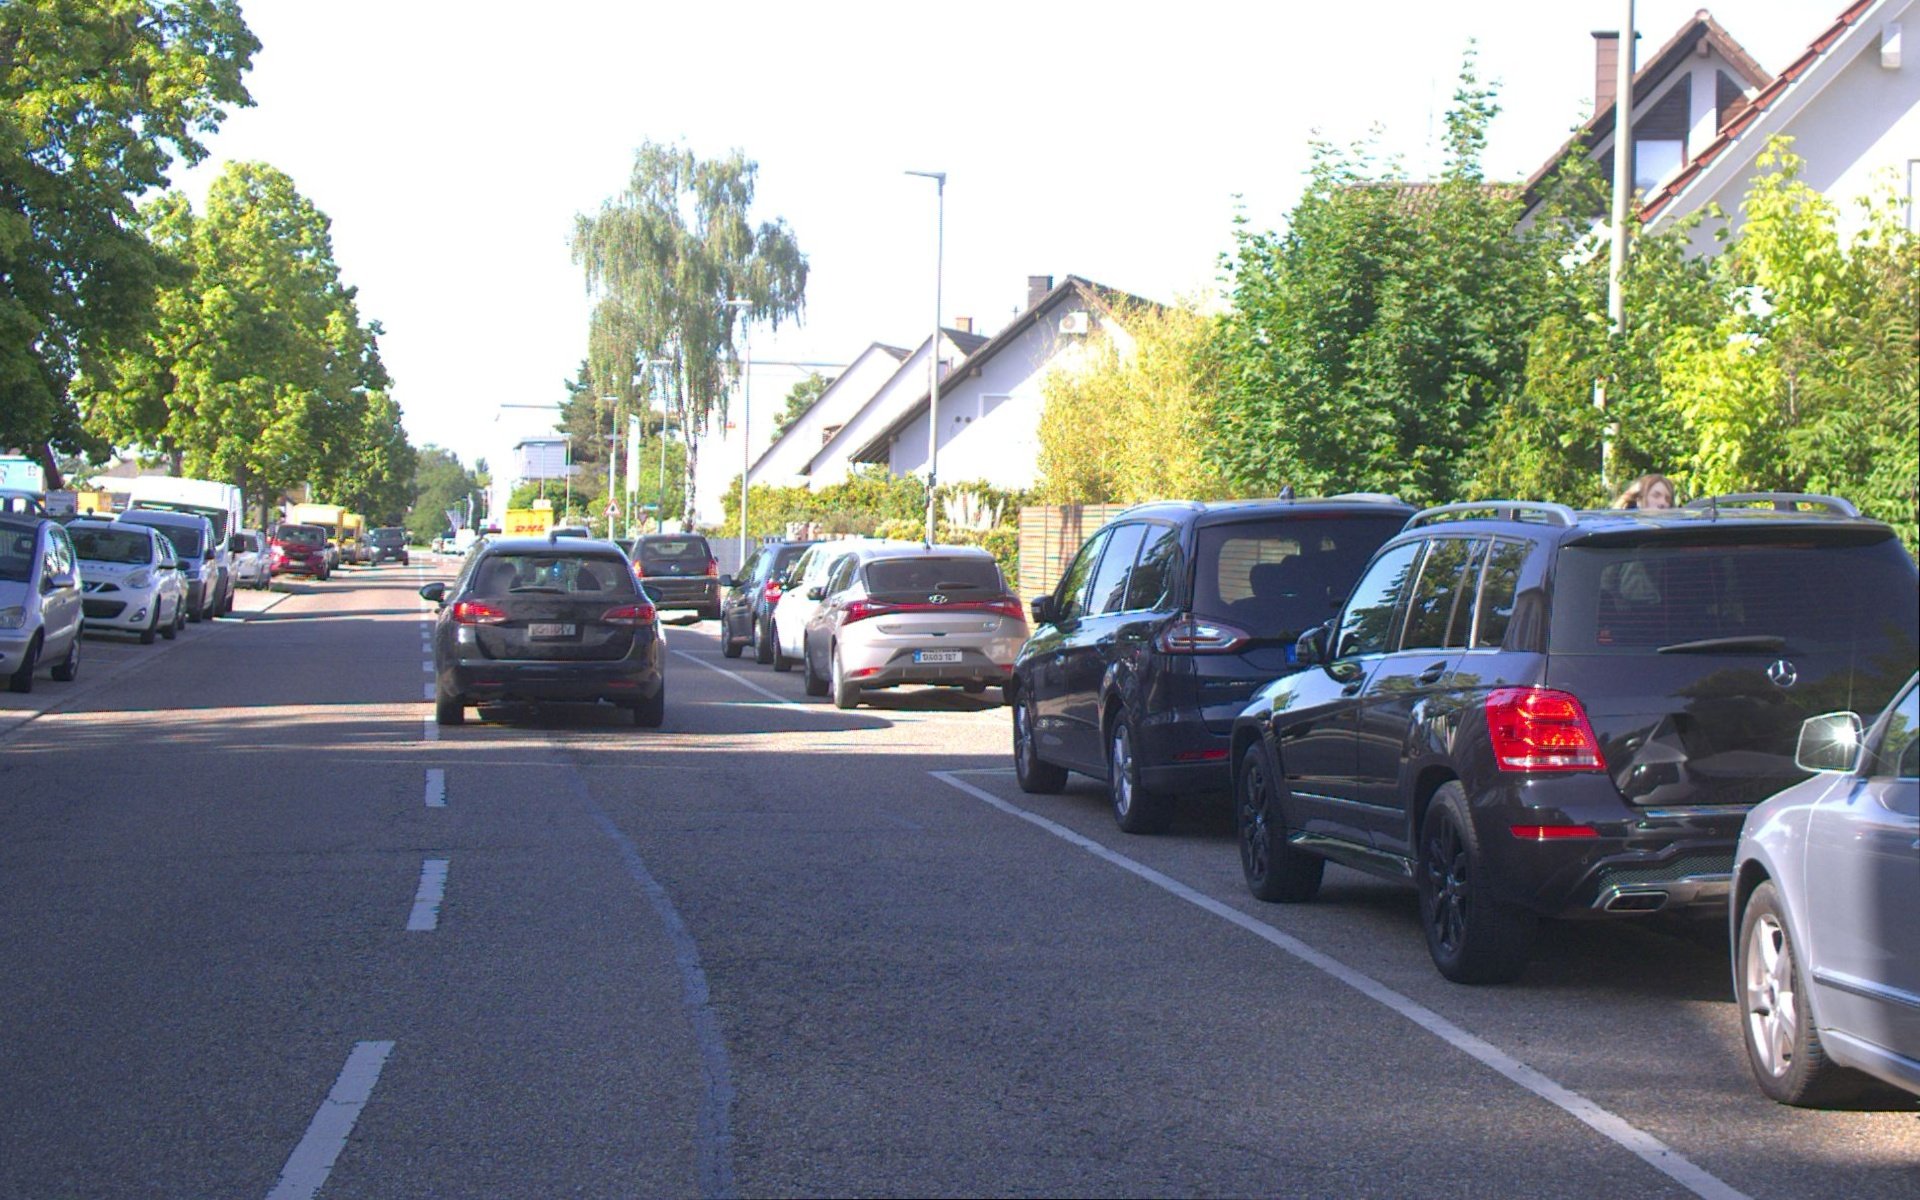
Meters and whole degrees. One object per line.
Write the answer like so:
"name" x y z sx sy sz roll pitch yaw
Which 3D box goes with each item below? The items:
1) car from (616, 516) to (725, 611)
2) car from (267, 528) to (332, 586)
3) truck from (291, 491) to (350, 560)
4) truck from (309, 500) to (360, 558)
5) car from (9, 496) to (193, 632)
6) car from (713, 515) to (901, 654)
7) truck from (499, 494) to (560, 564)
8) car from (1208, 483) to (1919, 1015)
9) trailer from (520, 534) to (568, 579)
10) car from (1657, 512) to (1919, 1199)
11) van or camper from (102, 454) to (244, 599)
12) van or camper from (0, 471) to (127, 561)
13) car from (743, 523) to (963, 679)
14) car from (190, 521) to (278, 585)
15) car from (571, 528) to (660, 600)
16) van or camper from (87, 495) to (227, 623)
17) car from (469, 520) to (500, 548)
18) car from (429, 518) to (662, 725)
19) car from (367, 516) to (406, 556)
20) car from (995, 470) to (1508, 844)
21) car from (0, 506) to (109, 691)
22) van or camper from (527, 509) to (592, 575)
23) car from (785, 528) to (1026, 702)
"car" -5.471 -0.708 64.611 1.775 1.653 4.304 2 1 -8
"car" -21.612 -1.427 112.577 1.803 1.746 4.343 4 0 -8
"truck" -29.547 -3.414 159.018 2.402 2.973 7.247 3 0 -10
"truck" -34.288 -3.856 188.575 2.402 2.973 6.375 3 0 -9
"car" -11.154 -0.481 44.868 1.692 1.560 3.907 5 1 -6
"car" -1.953 -0.224 42.899 1.656 1.595 3.817 2 1 -12
"truck" -18.712 -3.059 149.131 2.402 2.926 7.018 0 1 -9
"car" 2.314 0.440 13.114 1.762 1.670 4.395 1 1 -9
"trailer" -15.184 -1.594 125.426 1.627 1.533 3.199 2 1 -8
"car" 3.052 0.602 7.771 1.762 1.558 4.663 1 1 -3
"van or camper" -14.697 -1.368 64.462 2.122 2.481 5.557 3 1 -10
"van or camper" -25.791 -2.338 94.869 4.893 2.312 2.243 2 0 4
"car" -1.248 -0.024 38.458 1.723 1.595 3.817 2 1 -12
"car" -18.022 -1.184 85.449 1.686 1.430 4.210 4 1 -7
"car" -8.434 -0.899 83.935 1.775 1.653 3.817 2 1 -10
"van or camper" -13.593 -0.710 58.394 1.877 2.007 4.280 2 1 -8
"car" -31.615 -4.372 228.470 1.918 1.819 4.081 2 1 -9
"car" -3.367 0.127 27.748 1.711 1.527 3.688 1 1 -8
"car" -29.567 -3.274 177.343 1.893 2.024 4.819 0 1 -8
"car" 1.467 0.242 19.117 1.742 1.807 4.431 1 1 -10
"car" -9.333 -0.106 32.742 1.721 1.587 3.909 7 0 -7
"van or camper" -12.063 -1.741 103.422 1.718 1.884 4.181 2 1 -8
"car" -0.572 0.099 32.098 1.641 1.489 3.890 1 1 -10
